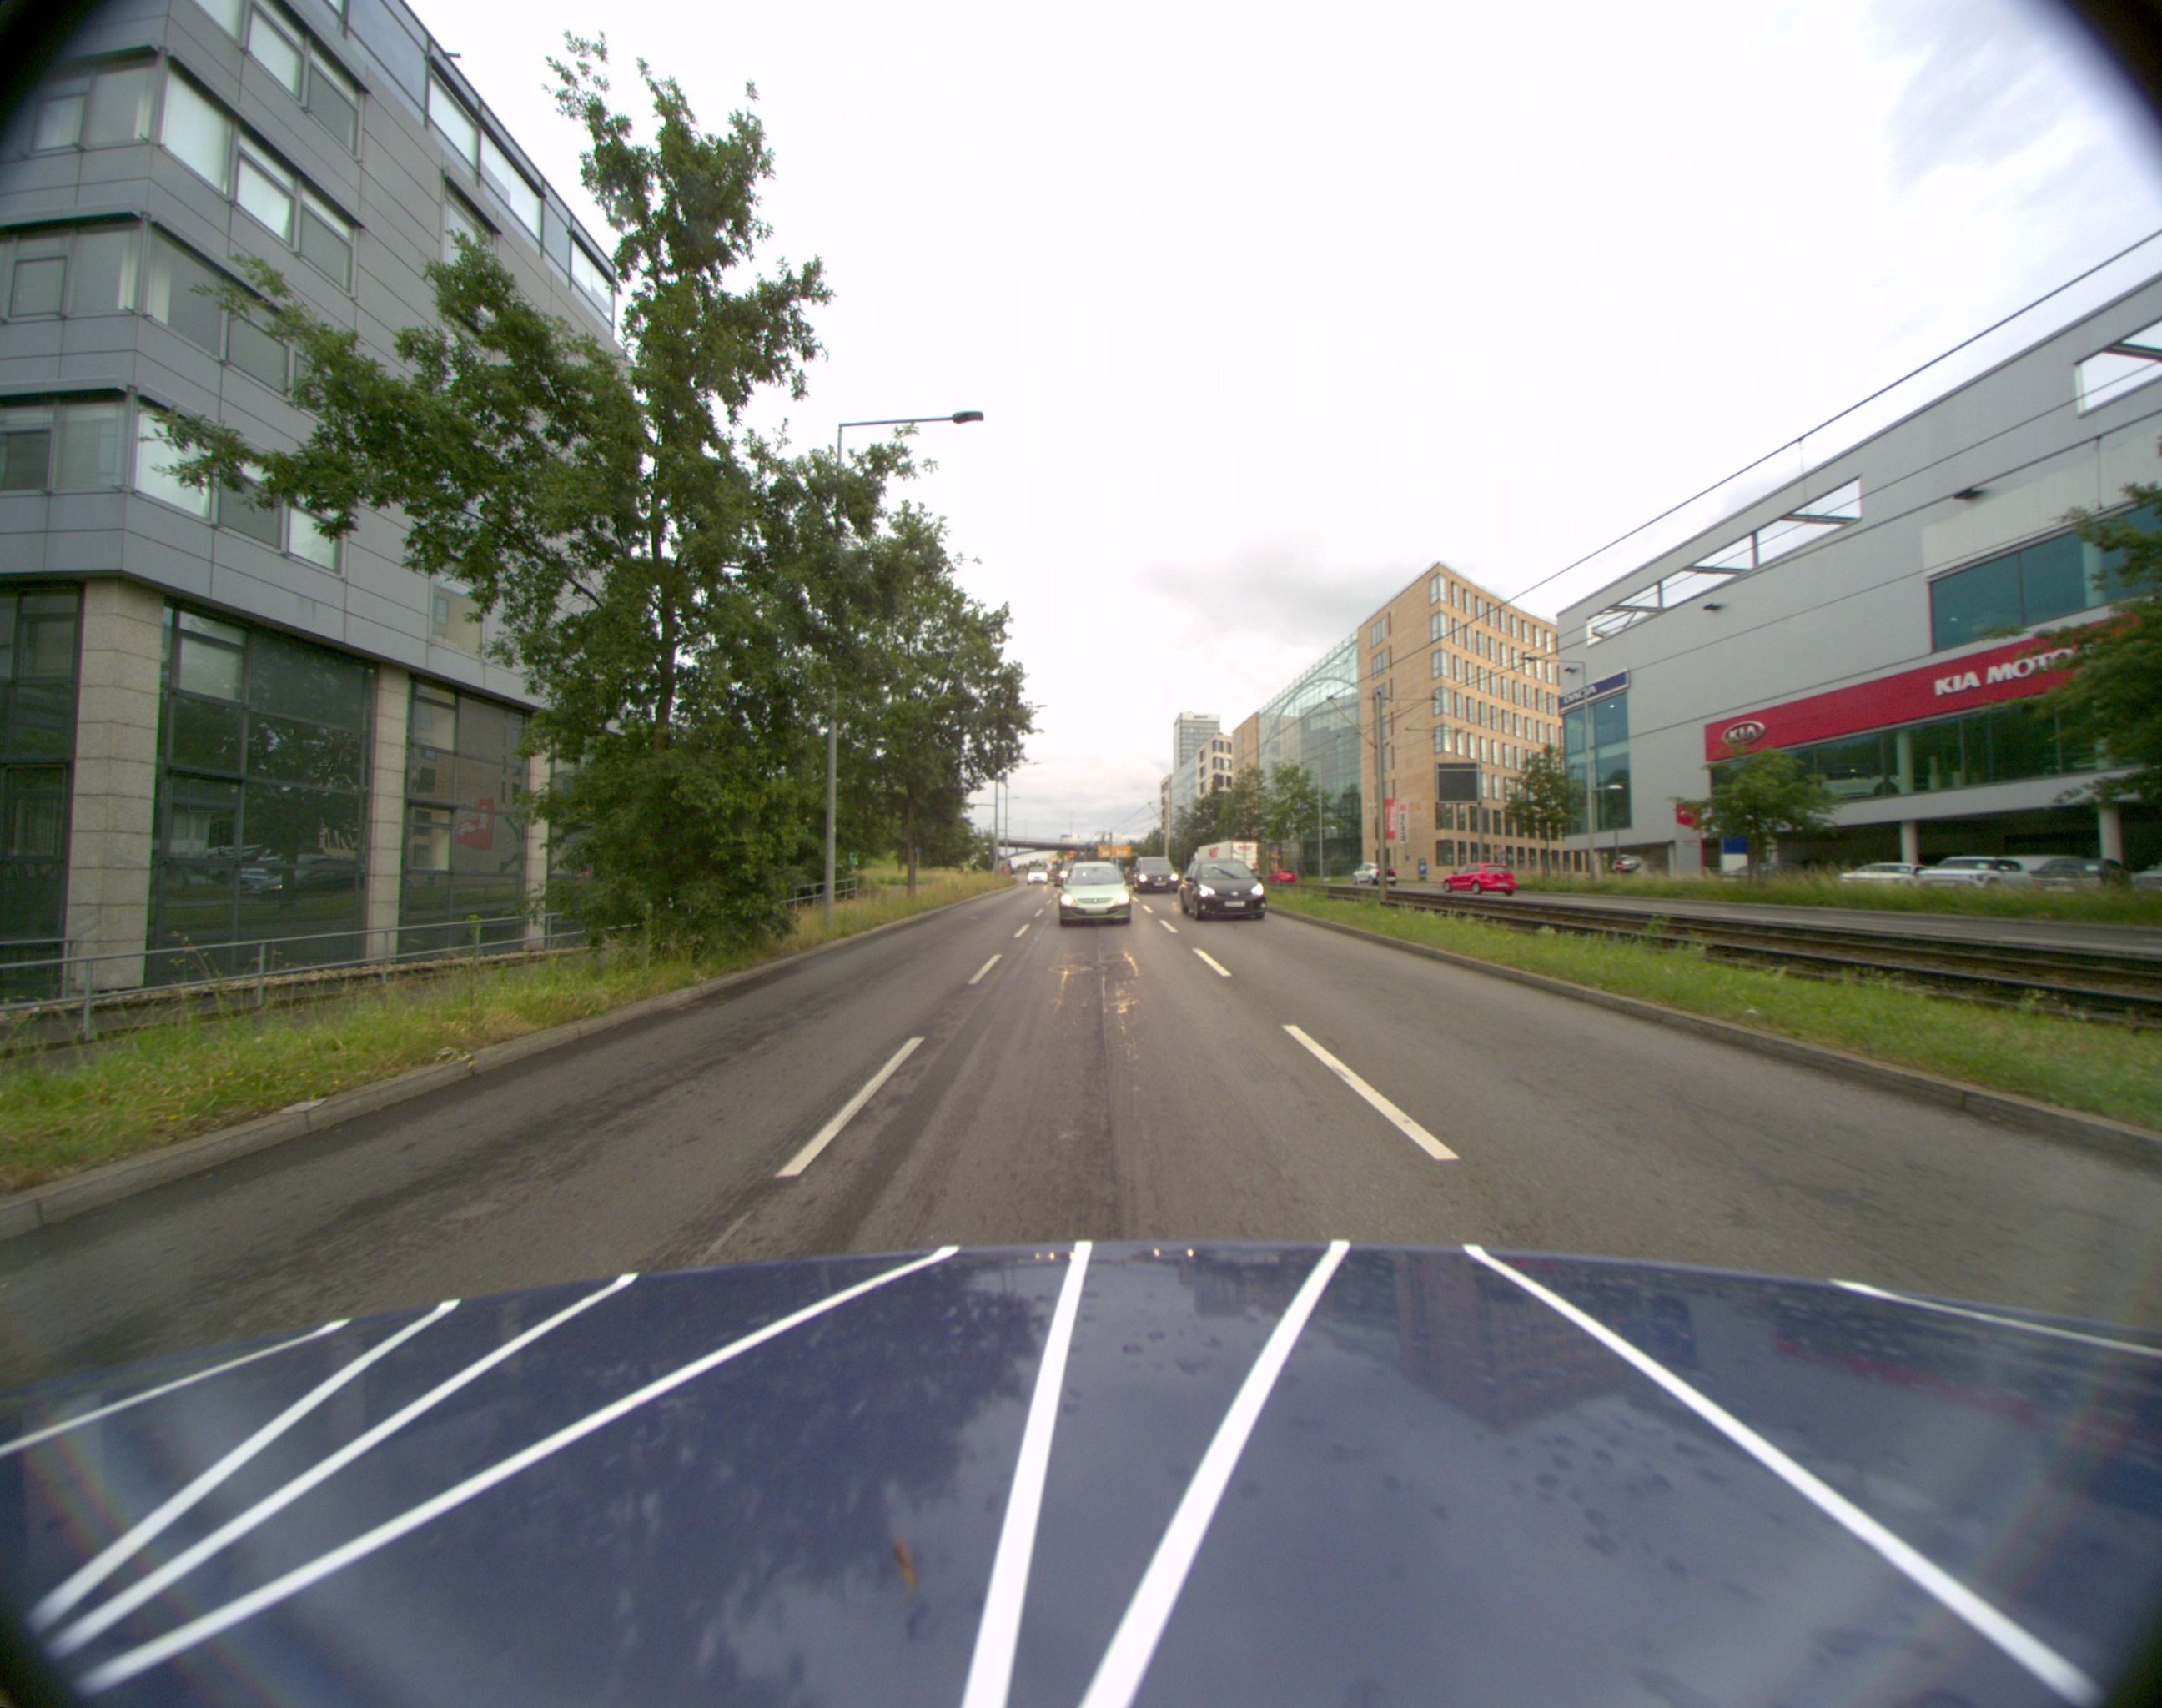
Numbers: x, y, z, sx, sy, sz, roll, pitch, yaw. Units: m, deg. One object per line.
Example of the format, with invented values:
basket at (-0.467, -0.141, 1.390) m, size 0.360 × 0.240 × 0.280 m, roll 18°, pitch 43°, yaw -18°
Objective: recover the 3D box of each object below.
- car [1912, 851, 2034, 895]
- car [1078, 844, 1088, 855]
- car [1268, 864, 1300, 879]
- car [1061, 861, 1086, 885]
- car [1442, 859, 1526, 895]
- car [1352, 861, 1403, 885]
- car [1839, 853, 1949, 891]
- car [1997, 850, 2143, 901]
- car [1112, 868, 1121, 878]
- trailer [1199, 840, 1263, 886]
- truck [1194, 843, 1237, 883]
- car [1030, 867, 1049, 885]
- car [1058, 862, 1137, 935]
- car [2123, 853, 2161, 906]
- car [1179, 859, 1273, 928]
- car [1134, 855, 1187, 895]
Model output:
car at (31.757, 0.662, 27.069) m, size 3.668 × 1.287 × 1.696 m, roll -4°, pitch 0°, yaw -22°
car at (0.408, -0.883, 155.022) m, size 1.960 × 2.002 × 3.999 m, roll -1°, pitch 0°, yaw -3°
car at (19.377, 1.670, 72.698) m, size 1.689 × 1.361 × 4.024 m, roll -1°, pitch 0°, yaw -4°
car at (-0.565, 1.342, 56.450) m, size 1.759 × 1.649 × 4.337 m, roll -1°, pitch 0°, yaw -1°
car at (18.377, 1.021, 34.824) m, size 1.588 × 1.504 × 4.101 m, roll 1°, pitch 0°, yaw -1°
car at (20.602, 1.275, 52.995) m, size 1.689 × 1.571 × 4.098 m, roll -1°, pitch 0°, yaw -4°
car at (31.735, 0.685, 29.675) m, size 3.668 × 1.181 × 1.696 m, roll -4°, pitch 0°, yaw -22°
car at (31.596, 0.662, 24.288) m, size 3.528 × 1.344 × 1.697 m, roll -4°, pitch 0°, yaw -17°
car at (7.567, 4.037, 161.673) m, size 1.752 × 2.002 × 4.000 m, roll -1°, pitch 0°, yaw 1°
trailer at (15.459, 0.882, 79.572) m, size 3.143 × 4.304 × 13.277 m, roll 2°, pitch 0°, yaw -3°
truck at (15.036, 0.956, 85.567) m, size 3.144 × 4.219 × 7.026 m, roll 2°, pitch 0°, yaw -3°
car at (-3.602, 1.894, 66.315) m, size 1.518 × 1.495 × 3.167 m, roll -1°, pitch 0°, yaw -2°
car at (0.355, 0.990, 18.843) m, size 1.704 × 1.523 × 4.371 m, roll -1°, pitch 0°, yaw 0°
car at (32.023, 0.675, 21.743) m, size 3.528 × 1.344 × 1.696 m, roll -4°, pitch 0°, yaw -20°
car at (3.574, 0.909, 19.319) m, size 1.704 × 1.523 × 3.827 m, roll -1°, pitch 0°, yaw 1°
car at (3.550, 0.904, 34.600) m, size 1.786 × 1.597 × 4.317 m, roll -2°, pitch 0°, yaw -1°
